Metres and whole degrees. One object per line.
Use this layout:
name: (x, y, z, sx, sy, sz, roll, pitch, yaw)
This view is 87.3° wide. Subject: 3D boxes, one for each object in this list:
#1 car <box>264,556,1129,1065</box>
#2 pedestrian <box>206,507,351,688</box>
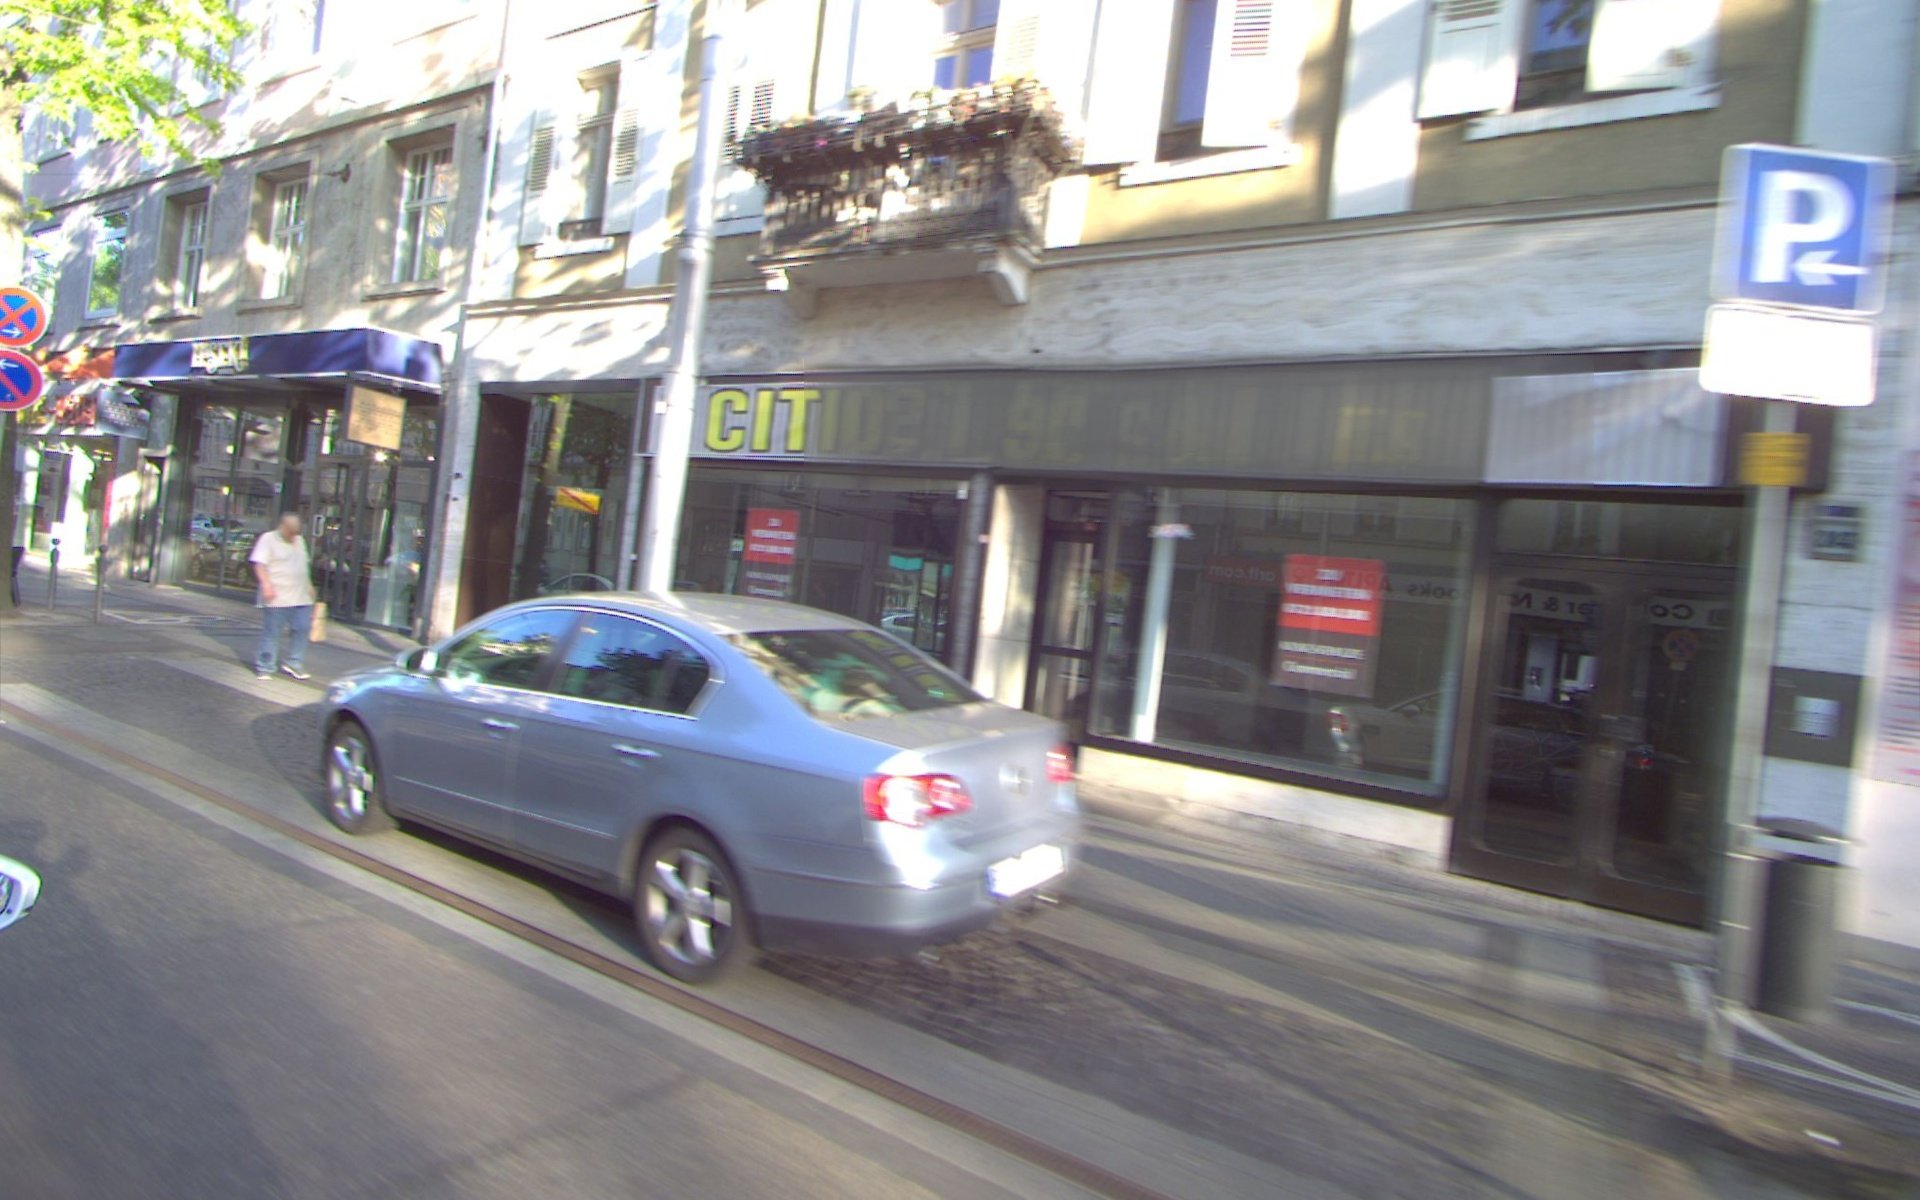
car: (-1.548, 0.698, 5.239, 4.350, 1.458, 1.777, 5, 0, 32)
pedestrian: (-6.740, -0.012, 9.966, 0.743, 1.662, 0.804, 6, -1, 31)
